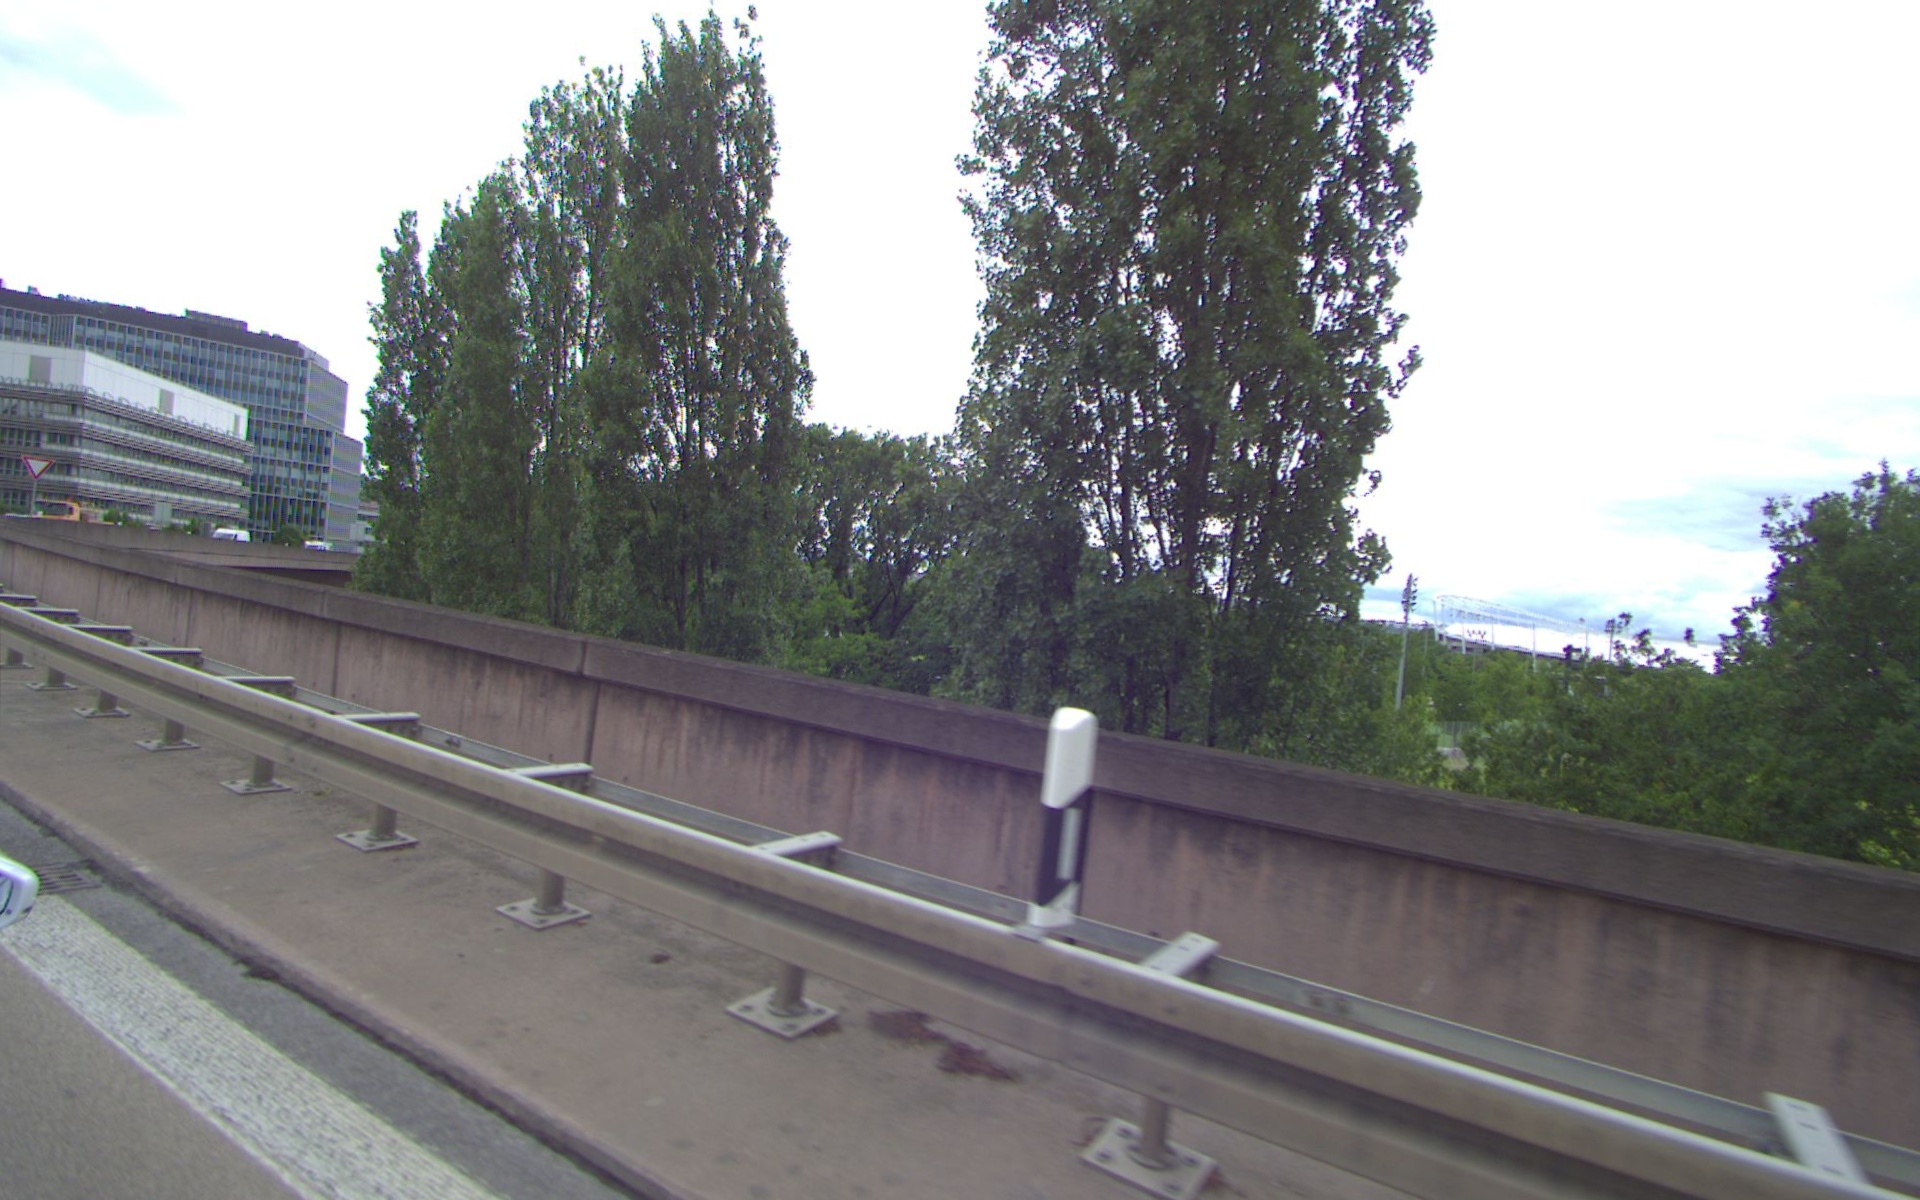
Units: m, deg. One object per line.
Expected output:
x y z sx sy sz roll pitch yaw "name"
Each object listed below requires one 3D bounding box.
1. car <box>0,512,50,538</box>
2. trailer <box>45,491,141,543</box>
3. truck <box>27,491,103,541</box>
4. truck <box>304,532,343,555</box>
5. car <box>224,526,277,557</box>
-67.350 -5.388 72.009 1.624 1.537 3.827 6 -1 -16 "car"
-76.330 -7.163 88.846 2.702 3.681 9.323 5 -1 -17 "trailer"
-74.943 -6.971 84.347 2.709 3.523 5.088 5 0 -17 "truck"
-92.012 -8.140 145.521 2.459 2.659 7.329 5 -1 -14 "truck"
-76.479 -6.255 108.506 2.547 2.675 6.172 7 -1 -16 "car"
